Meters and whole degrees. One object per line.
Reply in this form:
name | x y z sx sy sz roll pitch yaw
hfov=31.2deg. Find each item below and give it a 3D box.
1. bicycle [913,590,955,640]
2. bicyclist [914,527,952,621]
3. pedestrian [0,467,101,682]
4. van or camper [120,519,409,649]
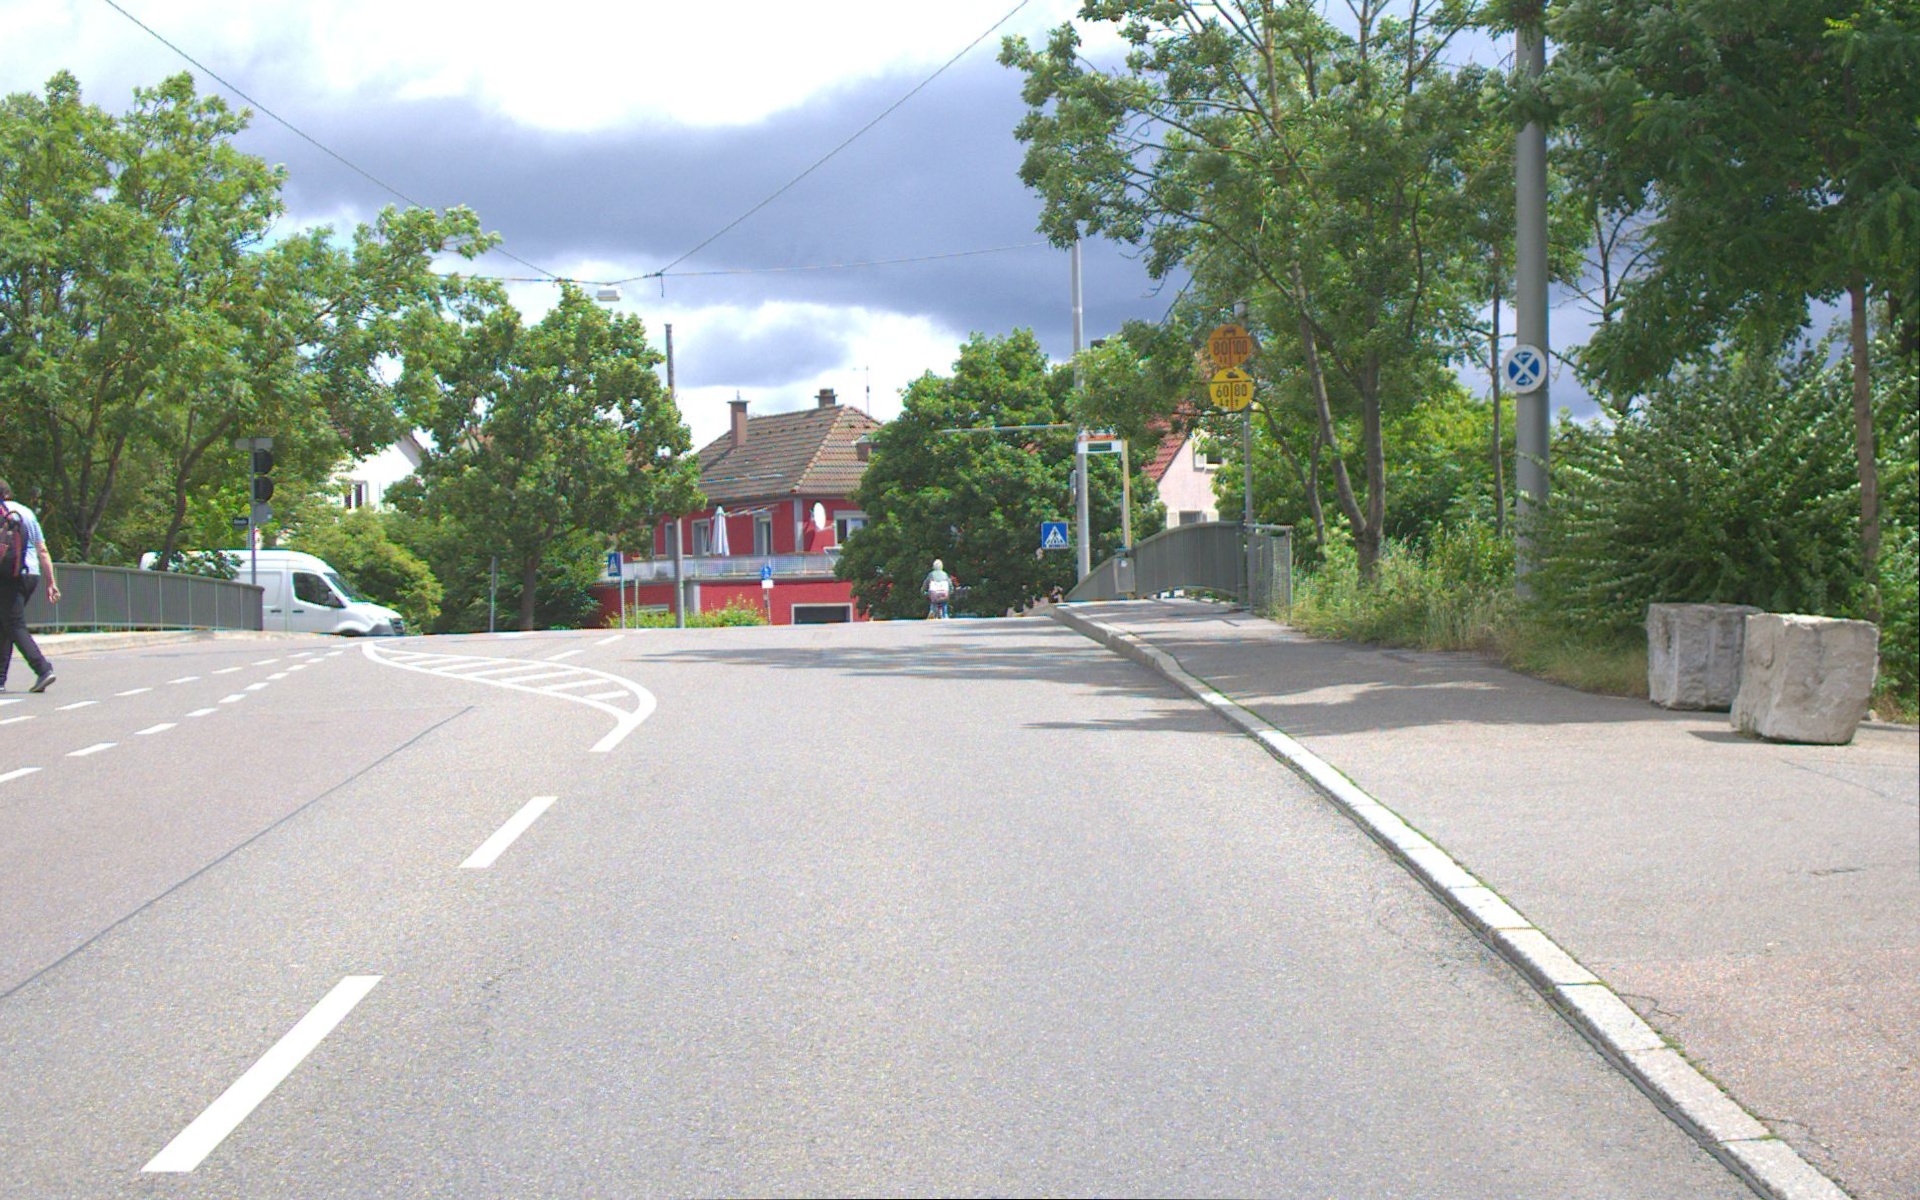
bicycle | -0.530 0.311 70.056 0.688 0.875 2.101 -1 -4 4
bicyclist | -0.553 -0.523 69.990 0.684 1.820 1.080 0 -5 4
pedestrian | -8.234 -0.232 29.991 1.035 1.831 0.997 0 1 31
van or camper | -15.485 -0.338 76.753 5.909 2.558 2.193 -2 -3 1
